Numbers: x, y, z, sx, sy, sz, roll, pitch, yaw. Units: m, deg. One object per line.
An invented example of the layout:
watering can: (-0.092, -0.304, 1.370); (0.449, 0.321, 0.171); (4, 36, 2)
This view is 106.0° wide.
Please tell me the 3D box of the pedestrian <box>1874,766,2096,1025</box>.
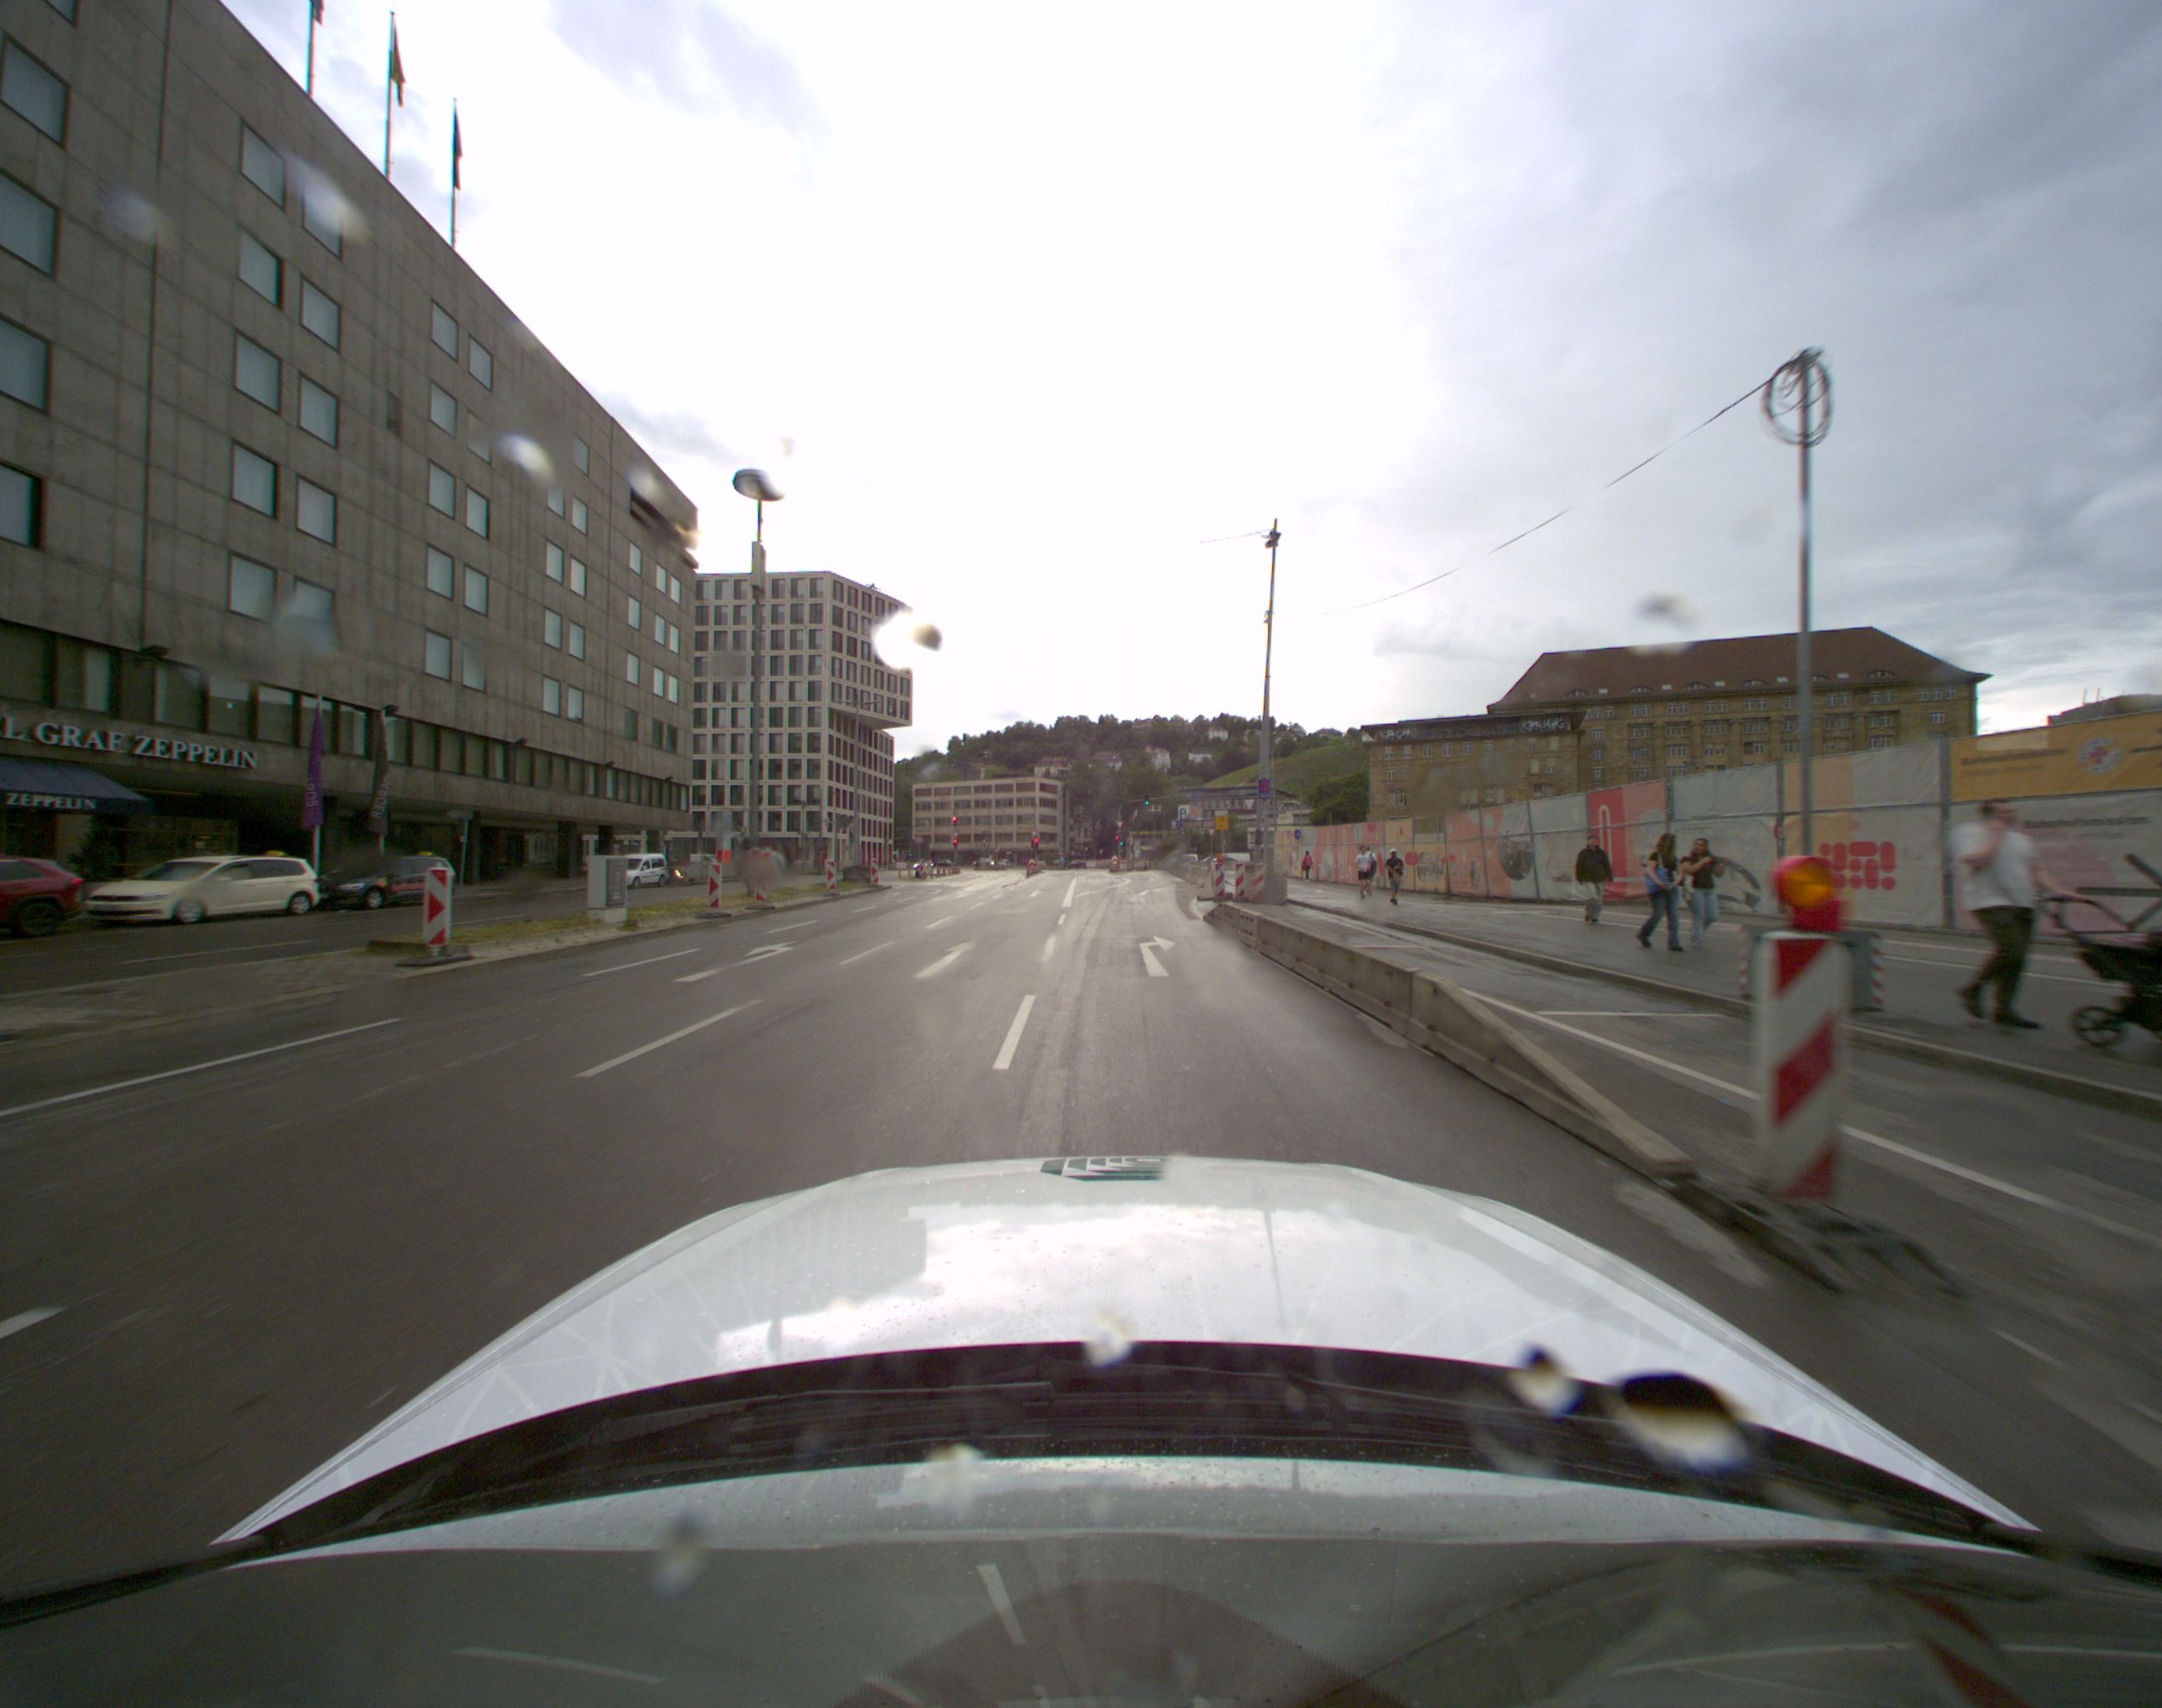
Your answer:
pedestrian: (7.548, 0.325, 6.861); (0.799, 2.016, 0.972); (0, 0, 3)

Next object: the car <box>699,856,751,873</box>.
car: (-37.840, 1.089, 86.643); (4.626, 1.738, 2.021); (0, 0, 4)

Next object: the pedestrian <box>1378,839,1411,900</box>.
pedestrian: (8.999, 0.434, 23.404); (0.640, 1.740, 0.837); (0, 0, 0)

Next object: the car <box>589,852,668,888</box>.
car: (-23.069, 0.784, 41.745); (1.770, 1.762, 4.367); (0, 0, -3)

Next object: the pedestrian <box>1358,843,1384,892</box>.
pedestrian: (11.307, 0.515, 31.775); (0.701, 1.866, 0.990); (0, 0, 2)

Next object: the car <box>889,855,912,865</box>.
car: (-31.717, 1.026, 142.950); (3.949, 1.816, 1.817); (0, 0, 40)

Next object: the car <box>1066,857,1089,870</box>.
car: (-0.576, 1.531, 129.797); (2.004, 2.013, 3.965); (0, 0, -27)

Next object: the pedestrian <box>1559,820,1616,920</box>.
pedestrian: (9.859, 0.304, 15.867); (0.681, 1.889, 0.693); (0, 0, -1)

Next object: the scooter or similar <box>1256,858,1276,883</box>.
scooter or similar: (8.944, 0.788, 39.463); (0.467, 1.183, 1.411); (0, 0, -8)

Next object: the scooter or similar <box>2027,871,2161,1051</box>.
scooter or similar: (7.641, 0.731, 5.777); (0.662, 1.198, 1.045); (0, 0, 2)

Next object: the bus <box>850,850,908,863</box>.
bus: (-43.287, 0.556, 174.365); (13.796, 2.750, 3.232); (0, 0, 31)

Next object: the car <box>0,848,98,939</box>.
car: (-21.961, 0.778, 15.065); (1.896, 1.768, 4.645); (0, 0, 0)

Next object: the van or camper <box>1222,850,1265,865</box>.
van or camper: (21.118, 0.491, 106.062); (5.180, 1.894, 1.887); (0, 0, -1)

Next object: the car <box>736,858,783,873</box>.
car: (-36.620, 1.324, 92.874); (4.620, 1.598, 2.023); (0, 0, 9)

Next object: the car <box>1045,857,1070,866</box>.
car: (-4.123, 1.345, 142.486); (4.025, 1.492, 1.747); (0, 0, 37)

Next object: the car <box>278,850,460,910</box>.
car: (-22.286, 0.766, 25.784); (1.810, 1.728, 4.513); (0, 0, 0)

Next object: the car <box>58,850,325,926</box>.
car: (-22.049, 0.778, 20.545); (1.812, 1.698, 4.573); (0, 0, -2)

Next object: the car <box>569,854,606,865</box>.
car: (-67.284, 0.731, 111.062); (3.963, 1.523, 1.872); (-1, -1, 9)

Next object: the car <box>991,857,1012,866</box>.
car: (-14.789, 1.443, 152.061); (1.809, 1.691, 3.953); (0, 0, -44)

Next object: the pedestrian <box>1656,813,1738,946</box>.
pedestrian: (8.973, 0.364, 11.885); (0.681, 1.889, 0.694); (0, 0, 3)

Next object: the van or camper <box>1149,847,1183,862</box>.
van or camper: (11.034, 0.040, 106.228); (4.229, 1.979, 1.850); (0, 0, -1)

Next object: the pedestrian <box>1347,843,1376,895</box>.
pedestrian: (9.728, 0.510, 28.252); (0.681, 1.740, 0.907); (0, 0, -1)

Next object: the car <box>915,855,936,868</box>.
car: (-22.902, 1.120, 120.172); (2.215, 1.753, 4.812); (-1, -1, 0)

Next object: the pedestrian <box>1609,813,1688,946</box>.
pedestrian: (8.259, 0.361, 11.879); (0.681, 1.889, 0.694); (0, 0, 3)

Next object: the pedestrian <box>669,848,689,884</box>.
pedestrian: (-21.725, 0.642, 43.995); (0.685, 1.886, 0.801); (0, 0, 43)

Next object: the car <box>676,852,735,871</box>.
car: (-38.381, 0.742, 83.296); (5.041, 1.904, 2.092); (0, 0, 7)

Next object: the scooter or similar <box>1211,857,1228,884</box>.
scooter or similar: (6.413, 0.748, 37.815); (0.671, 1.214, 1.574); (0, 0, 6)

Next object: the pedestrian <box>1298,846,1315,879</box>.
pedestrian: (12.629, 0.472, 45.645); (0.717, 1.866, 0.709); (0, 0, -1)
